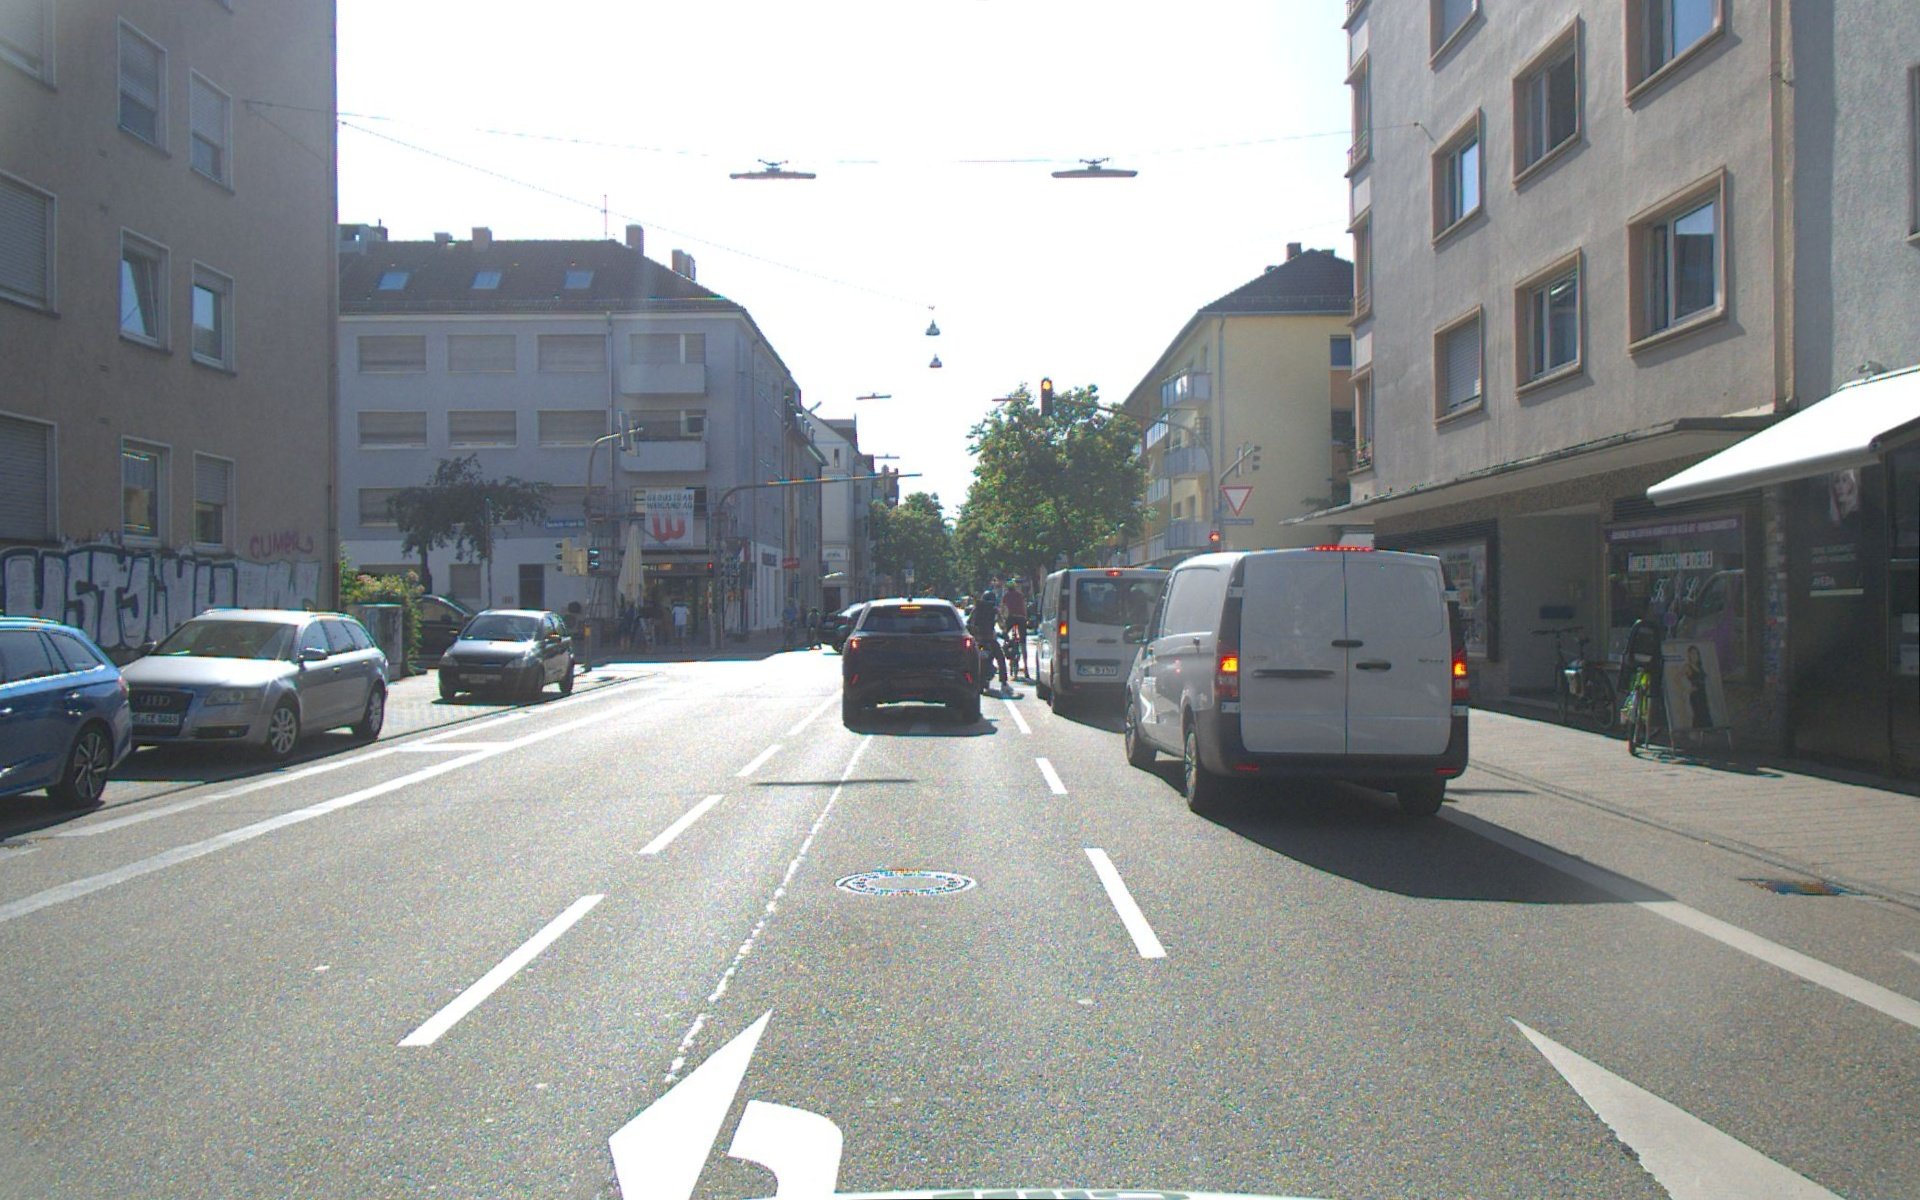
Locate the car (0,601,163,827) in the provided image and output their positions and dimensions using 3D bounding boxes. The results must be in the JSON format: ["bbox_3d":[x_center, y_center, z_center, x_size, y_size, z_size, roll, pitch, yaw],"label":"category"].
[{"bbox_3d":[-7.531,0.783,11.530,1.686,1.523,4.625,3,0,-1],"label":"car"}]

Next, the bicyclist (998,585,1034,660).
[{"bbox_3d":[1.127,0.450,33.418,0.670,1.474,0.940,0,0,-2],"label":"bicyclist"}]

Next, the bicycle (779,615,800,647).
[{"bbox_3d":[-6.122,1.107,59.426,0.552,1.104,1.104,0,0,7],"label":"bicycle"}]

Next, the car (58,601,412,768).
[{"bbox_3d":[-7.575,0.805,17.865,1.741,1.495,4.758,2,0,-1],"label":"car"}]

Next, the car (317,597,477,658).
[{"bbox_3d":[-15.514,0.749,45.713,3.908,1.655,1.542,0,0,-4],"label":"car"}]

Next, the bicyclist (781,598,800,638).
[{"bbox_3d":[-6.106,0.641,59.513,0.534,1.406,0.521,1,-1,7],"label":"bicyclist"}]

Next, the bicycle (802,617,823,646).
[{"bbox_3d":[-5.278,1.133,59.368,0.524,1.023,1.111,0,0,7],"label":"bicycle"}]

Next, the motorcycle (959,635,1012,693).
[{"bbox_3d":[0.416,1.067,27.918,0.791,0.878,1.822,2,0,-2],"label":"motorcycle"}]

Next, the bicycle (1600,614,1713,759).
[{"bbox_3d":[6.615,0.801,15.763,0.465,1.296,1.218,-3,0,-1],"label":"bicycle"}]

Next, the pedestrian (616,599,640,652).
[{"bbox_3d":[-10.665,0.825,53.139,0.670,1.693,0.601,0,-1,-2],"label":"pedestrian"}]

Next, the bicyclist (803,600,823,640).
[{"bbox_3d":[-5.277,0.718,59.392,0.558,1.394,0.584,-1,-1,7],"label":"bicyclist"}]

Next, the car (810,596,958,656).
[{"bbox_3d":[-2.192,0.727,48.240,3.963,1.668,1.971,0,0,-40],"label":"car"}]

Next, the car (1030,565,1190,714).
[{"bbox_3d":[2.070,0.529,24.100,1.779,1.955,4.642,0,0,-2],"label":"car"}]

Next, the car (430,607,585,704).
[{"bbox_3d":[-7.638,0.890,28.252,1.620,1.505,3.998,2,0,-2],"label":"car"}]

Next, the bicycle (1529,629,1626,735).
[{"bbox_3d":[7.077,0.920,19.015,0.513,1.138,1.533,0,0,-1],"label":"bicycle"}]

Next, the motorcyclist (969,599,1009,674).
[{"bbox_3d":[0.484,0.608,27.967,0.645,1.248,0.694,0,0,-2],"label":"motorcyclist"}]

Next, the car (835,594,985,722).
[{"bbox_3d":[-0.661,0.709,22.012,1.807,1.534,3.998,0,0,-2],"label":"car"}]

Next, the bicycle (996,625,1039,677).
[{"bbox_3d":[1.145,1.014,33.320,0.759,1.009,1.716,0,0,-2],"label":"bicycle"}]

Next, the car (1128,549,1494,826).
[{"bbox_3d":[2.592,0.599,13.371,1.944,1.854,4.546,0,0,-1],"label":"car"}]

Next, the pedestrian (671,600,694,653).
[{"bbox_3d":[-9.073,0.859,54.034,0.670,1.693,0.601,0,-1,-2],"label":"pedestrian"}]
